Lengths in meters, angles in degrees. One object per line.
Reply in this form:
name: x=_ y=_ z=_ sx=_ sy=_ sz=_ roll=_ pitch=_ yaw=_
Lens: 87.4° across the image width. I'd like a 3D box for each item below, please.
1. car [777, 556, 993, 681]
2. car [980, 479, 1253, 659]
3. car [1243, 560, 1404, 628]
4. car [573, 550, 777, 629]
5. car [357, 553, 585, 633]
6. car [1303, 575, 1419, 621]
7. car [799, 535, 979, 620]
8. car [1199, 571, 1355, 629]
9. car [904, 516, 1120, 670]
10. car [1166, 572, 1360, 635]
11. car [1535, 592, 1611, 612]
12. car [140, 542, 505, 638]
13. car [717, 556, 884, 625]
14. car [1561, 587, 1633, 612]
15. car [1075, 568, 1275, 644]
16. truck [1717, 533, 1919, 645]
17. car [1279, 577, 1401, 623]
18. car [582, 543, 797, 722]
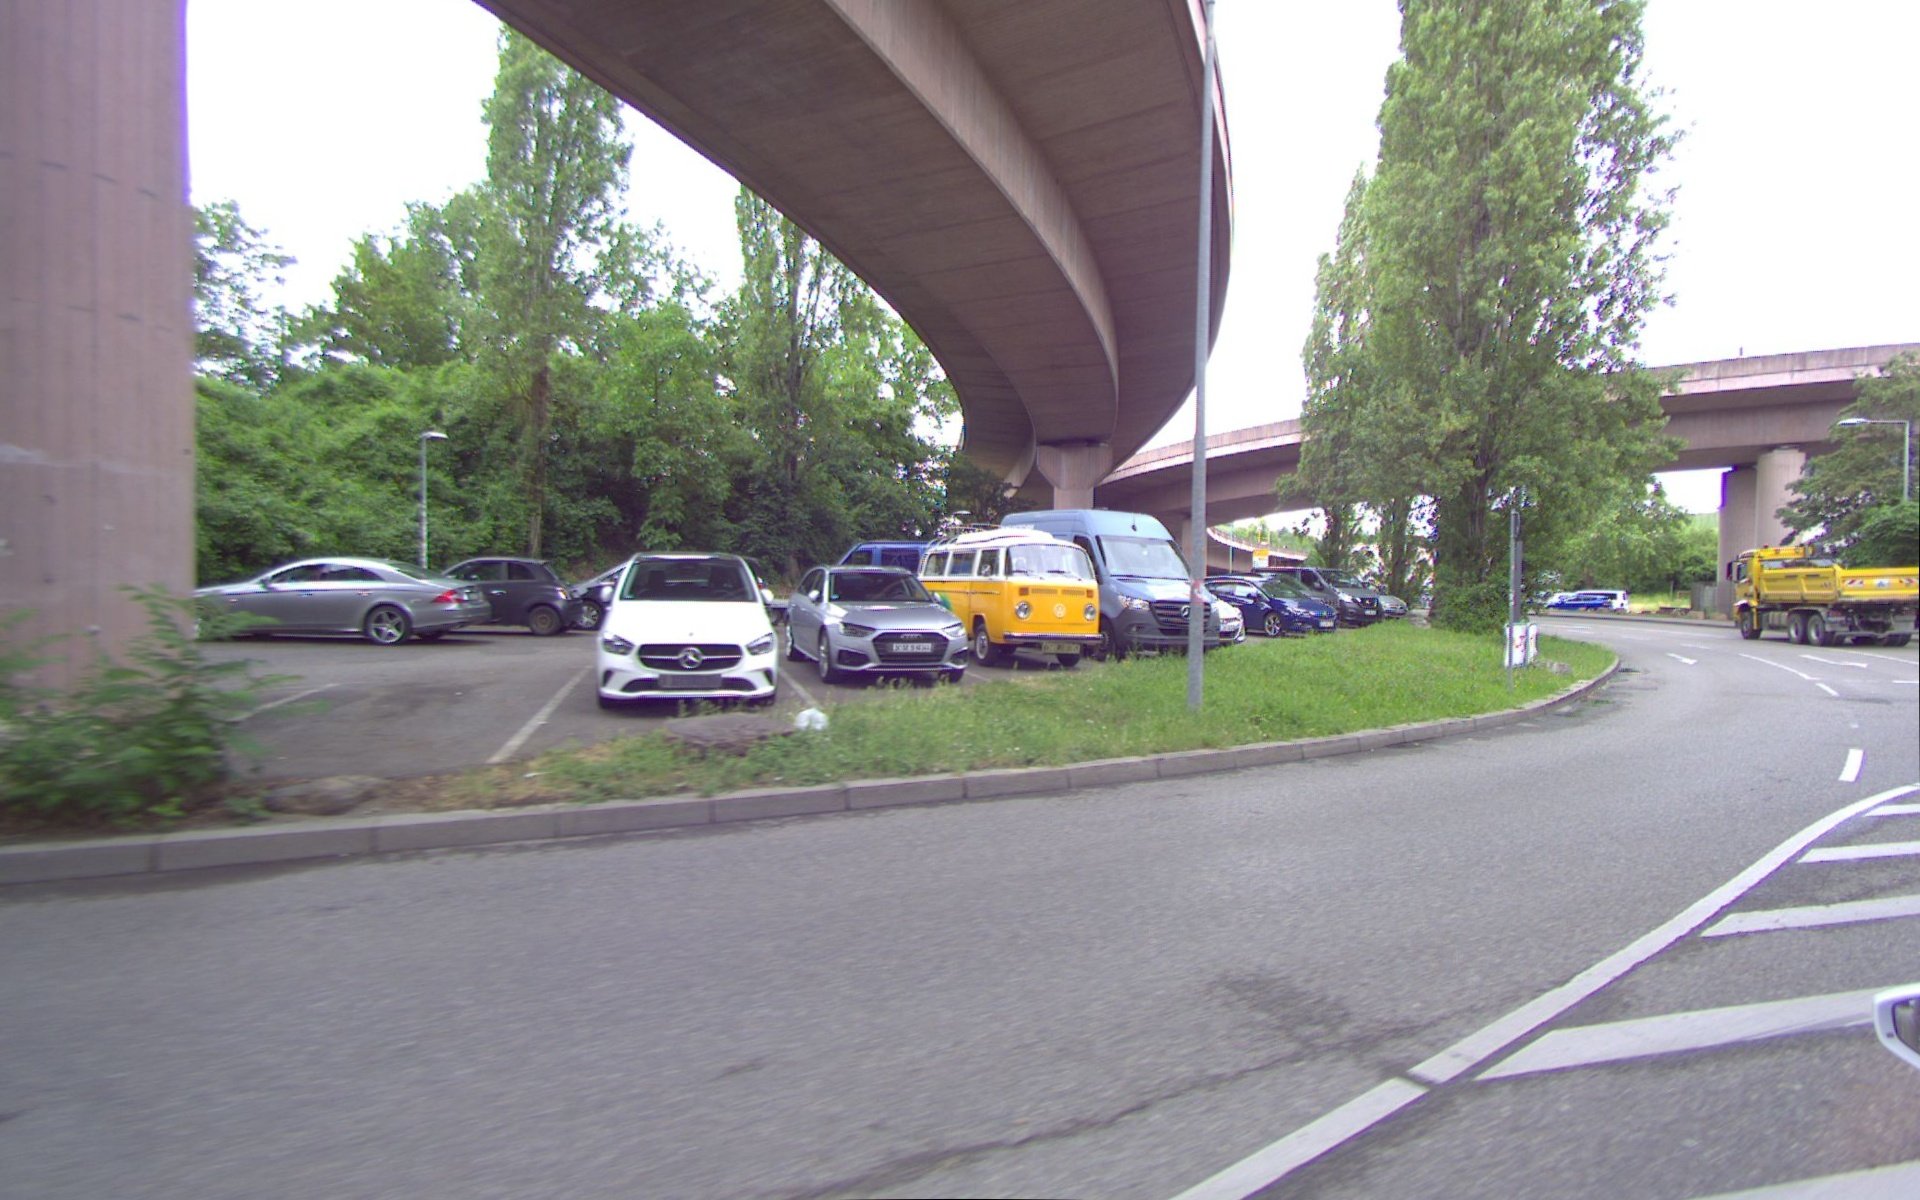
car: x=-1.217 y=0.134 z=13.764 sx=1.969 sy=1.390 sz=4.239 roll=0 pitch=3 yaw=-19
car: x=2.568 y=-0.561 z=18.717 sx=2.332 sy=2.762 sz=6.166 roll=0 pitch=2 yaw=-20
car: x=12.288 y=-0.189 z=34.345 sx=2.229 sy=2.099 sz=5.074 roll=2 pitch=0 yaw=-25
car: x=-6.291 y=-0.209 z=22.558 sx=4.074 sy=1.698 sz=1.900 roll=0 pitch=0 yaw=-4
car: x=-9.403 y=-0.109 z=19.589 sx=3.669 sy=1.460 sz=1.645 roll=0 pitch=0 yaw=-12
car: x=16.921 y=-0.061 z=42.597 sx=1.990 sy=1.815 sz=4.369 roll=0 pitch=-1 yaw=-28
car: x=-2.074 y=-0.585 z=28.602 sx=4.926 sy=2.284 sz=2.121 roll=0 pitch=-1 yaw=-9
car: x=9.153 y=0.013 z=29.365 sx=1.871 sy=1.532 sz=4.422 roll=0 pitch=0 yaw=-25
car: x=0.648 y=-0.158 z=16.386 sx=1.823 sy=2.139 sz=4.548 roll=0 pitch=2 yaw=-21
car: x=7.869 y=0.092 z=26.558 sx=2.054 sy=1.508 sz=4.812 roll=0 pitch=0 yaw=-32
car: x=45.322 y=0.170 z=74.328 sx=1.984 sy=1.461 sz=4.407 roll=1 pitch=-1 yaw=-40
car: x=-10.496 y=-0.187 z=16.880 sx=4.796 sy=1.508 sz=1.861 roll=0 pitch=3 yaw=-6
car: x=-4.008 y=-0.216 z=25.745 sx=4.076 sy=1.698 sz=1.900 roll=0 pitch=0 yaw=-6
car: x=48.766 y=-0.013 z=76.936 sx=1.985 sy=1.882 sz=4.276 roll=1 pitch=-1 yaw=-41
car: x=4.369 y=0.125 z=21.141 sx=1.973 sy=1.434 sz=4.267 roll=0 pitch=0 yaw=-25
truck: x=30.629 y=-0.429 z=35.977 sx=2.878 sy=3.528 sz=8.246 roll=-1 pitch=1 yaw=17
car: x=15.203 y=0.030 z=40.422 sx=1.974 sy=1.573 sz=4.343 roll=-2 pitch=-2 yaw=-26
car: x=-3.103 y=0.199 z=11.474 sx=1.923 sy=1.628 sz=4.378 roll=1 pitch=3 yaw=-16
